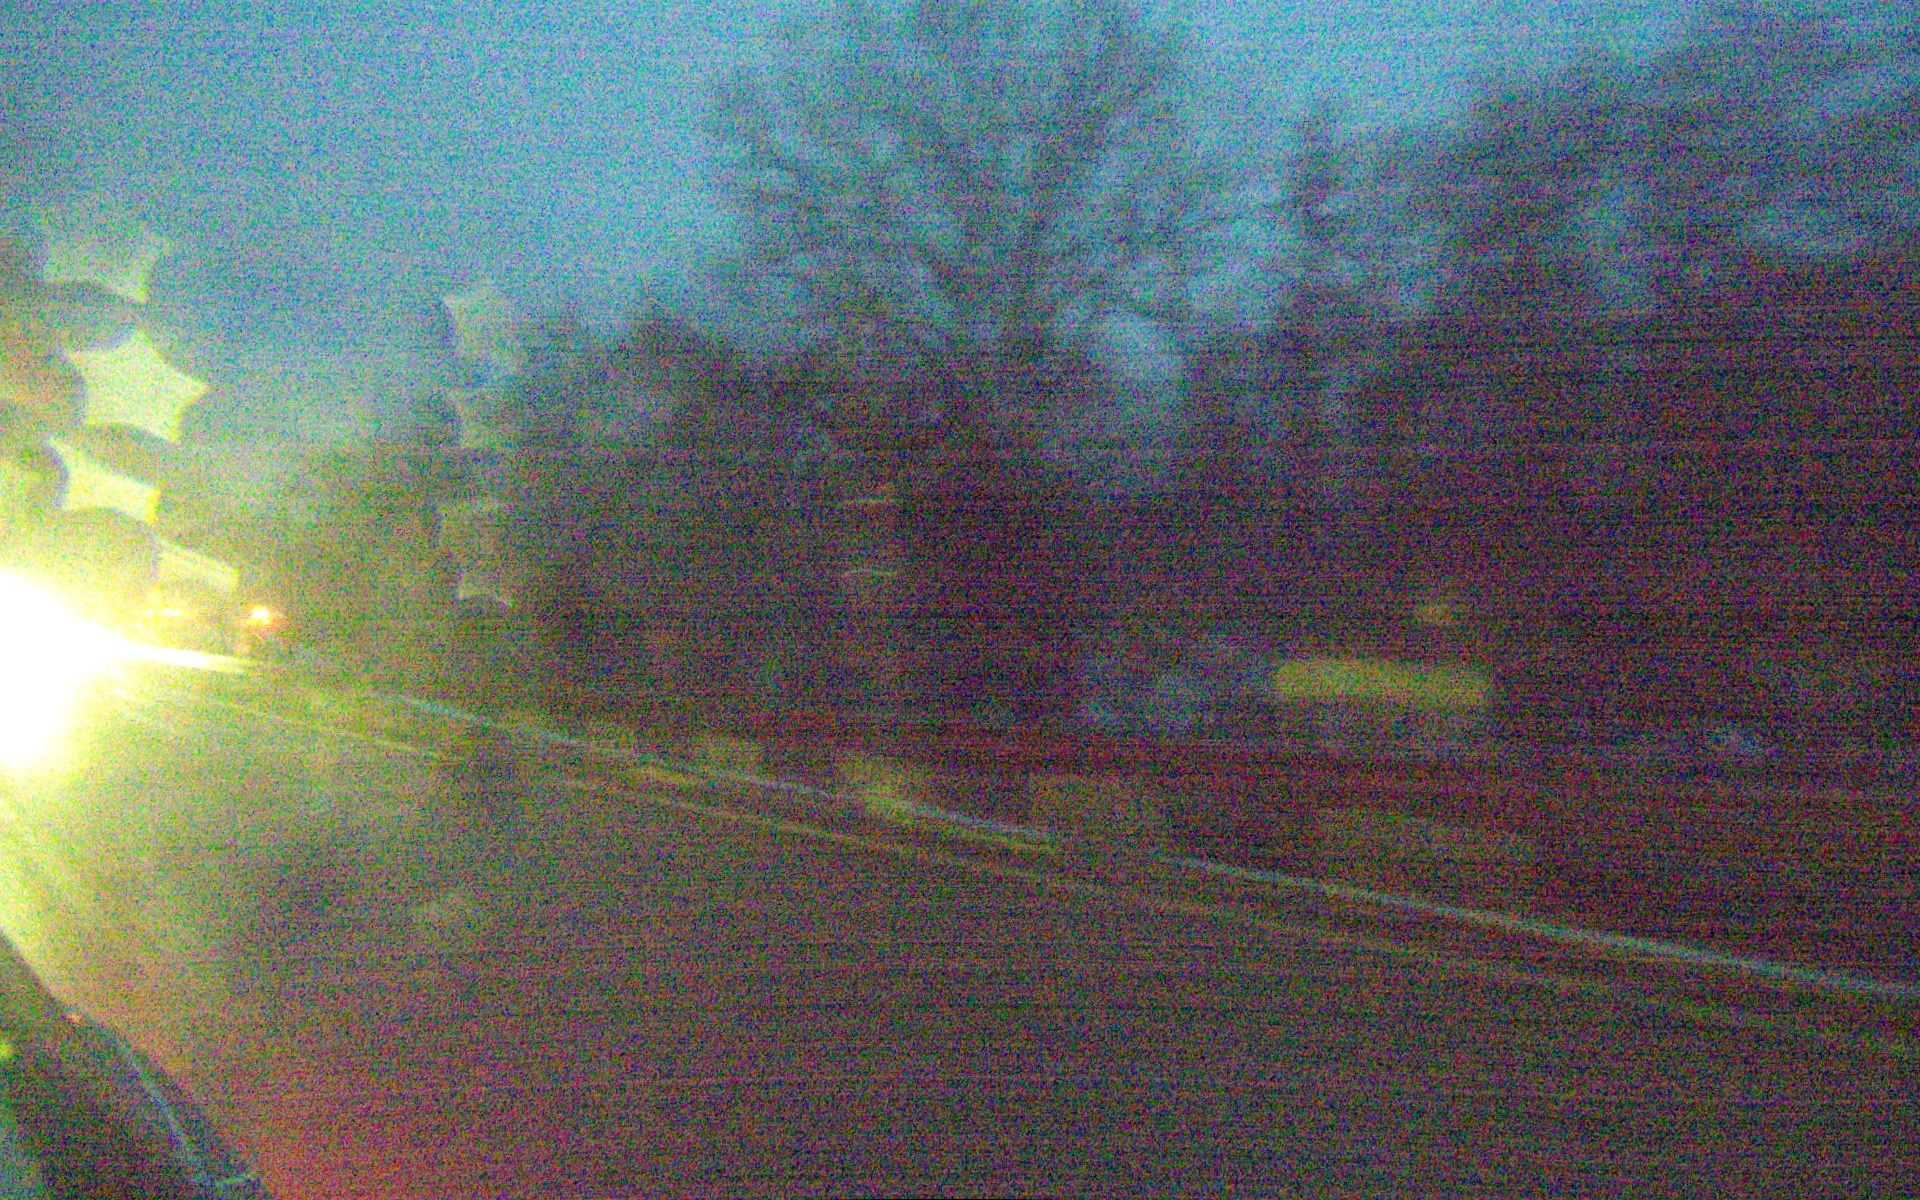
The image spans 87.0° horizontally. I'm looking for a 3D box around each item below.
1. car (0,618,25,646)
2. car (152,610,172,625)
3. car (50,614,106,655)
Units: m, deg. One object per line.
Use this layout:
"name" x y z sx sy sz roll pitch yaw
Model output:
"car" -53.605 1.758 56.287 1.779 1.472 4.286 -1 0 -36
"car" -100.645 2.169 127.667 1.968 1.763 4.267 -1 1 -38
"car" -45.913 1.767 52.747 1.968 1.940 4.008 -1 0 -38
